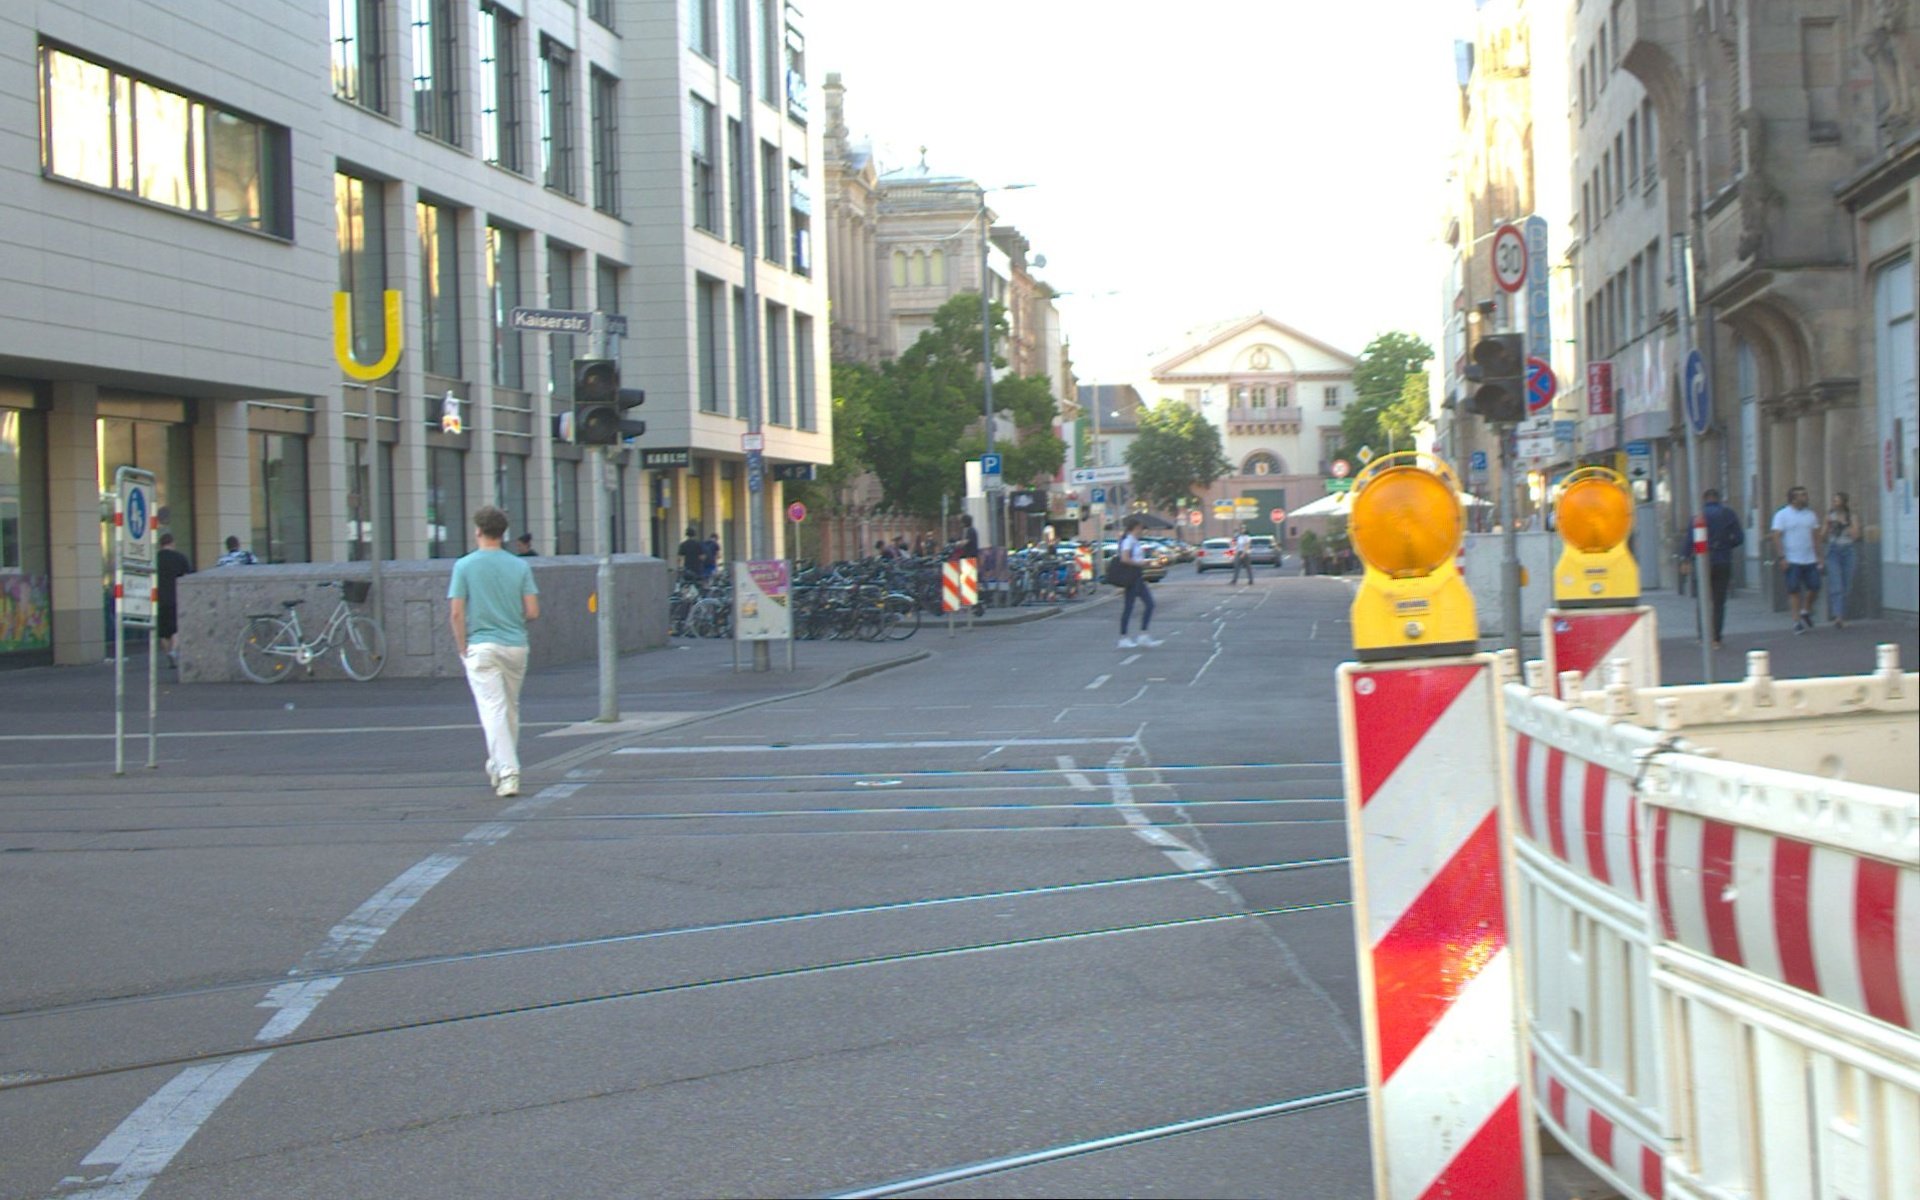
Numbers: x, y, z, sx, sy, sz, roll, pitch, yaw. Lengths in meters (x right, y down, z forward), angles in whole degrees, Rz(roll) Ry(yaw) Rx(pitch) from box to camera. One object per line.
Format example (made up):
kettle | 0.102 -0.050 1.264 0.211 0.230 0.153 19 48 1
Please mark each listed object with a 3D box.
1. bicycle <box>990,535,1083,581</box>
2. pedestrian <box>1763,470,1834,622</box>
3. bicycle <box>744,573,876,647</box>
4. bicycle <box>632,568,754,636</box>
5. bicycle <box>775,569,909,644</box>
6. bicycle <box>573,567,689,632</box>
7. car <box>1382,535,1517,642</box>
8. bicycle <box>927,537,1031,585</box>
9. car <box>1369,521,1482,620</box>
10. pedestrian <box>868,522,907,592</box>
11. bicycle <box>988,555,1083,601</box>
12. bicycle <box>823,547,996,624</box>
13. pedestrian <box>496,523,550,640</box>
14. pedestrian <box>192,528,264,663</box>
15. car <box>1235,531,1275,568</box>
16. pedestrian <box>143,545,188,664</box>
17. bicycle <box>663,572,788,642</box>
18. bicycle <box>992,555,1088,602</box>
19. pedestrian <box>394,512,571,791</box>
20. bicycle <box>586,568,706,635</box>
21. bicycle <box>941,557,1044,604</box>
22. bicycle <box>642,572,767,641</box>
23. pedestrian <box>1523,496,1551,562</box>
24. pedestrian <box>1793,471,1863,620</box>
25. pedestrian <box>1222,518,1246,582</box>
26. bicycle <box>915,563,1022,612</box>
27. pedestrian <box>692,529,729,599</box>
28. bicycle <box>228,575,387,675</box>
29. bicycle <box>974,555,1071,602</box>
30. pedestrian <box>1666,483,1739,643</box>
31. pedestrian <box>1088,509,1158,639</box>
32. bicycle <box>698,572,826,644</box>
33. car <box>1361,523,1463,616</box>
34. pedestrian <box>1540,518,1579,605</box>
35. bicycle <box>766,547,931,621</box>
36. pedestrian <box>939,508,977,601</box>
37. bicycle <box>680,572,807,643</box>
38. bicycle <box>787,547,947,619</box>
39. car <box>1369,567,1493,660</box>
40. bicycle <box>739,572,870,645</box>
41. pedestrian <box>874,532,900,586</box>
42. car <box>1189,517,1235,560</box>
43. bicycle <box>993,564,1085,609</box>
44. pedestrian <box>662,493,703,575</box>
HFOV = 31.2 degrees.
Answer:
bicycle | 1.846 -1.016 82.848 2.149 1.026 0.640 -2 1 8
pedestrian | 9.503 -0.608 38.968 0.625 1.684 0.671 -2 1 4
bicycle | -2.315 0.143 53.222 1.967 1.118 0.558 -1 1 -23
bicycle | -4.491 0.029 57.821 1.967 1.118 0.558 -1 1 -23
bicycle | -1.796 0.091 52.411 1.967 1.118 0.558 -1 1 -23
bicycle | -5.841 -0.012 61.134 1.967 1.118 0.558 -1 1 -23
car | 6.790 -0.187 47.970 1.679 1.419 3.672 0 1 5
bicycle | 0.406 -0.832 73.503 2.149 0.950 0.640 -2 1 8
car | 7.883 -0.513 58.461 1.679 1.542 3.672 -3 1 5
pedestrian | -1.593 -0.946 75.611 0.751 1.524 0.485 -2 1 6
bicycle | 1.782 -0.520 80.764 2.149 1.026 0.640 -2 1 8
bicycle | -0.876 -0.256 60.060 2.886 1.251 0.804 -2 1 -20
pedestrian | -6.337 -0.269 49.886 0.681 1.675 0.600 0 1 3
pedestrian | -9.539 -0.057 44.813 0.782 1.745 0.600 0 1 3
car | 15.193 -2.591 176.761 1.994 1.897 3.999 0 1 5
pedestrian | -10.246 0.054 44.337 0.390 1.510 0.505 -2 1 5
bicycle | -3.832 0.107 56.244 1.967 1.118 0.558 -1 1 -23
bicycle | 1.875 -0.510 80.020 2.149 1.026 0.640 -2 1 8
pedestrian | -3.062 0.318 22.083 0.866 1.755 0.767 0 1 18
bicycle | -5.386 0.017 58.972 1.967 1.118 0.558 -1 1 -23
bicycle | 0.711 -0.428 74.390 2.149 0.950 0.640 -2 1 8
bicycle | -4.226 0.100 56.894 1.967 1.118 0.558 -1 1 -23
pedestrian | 15.551 -1.919 92.636 0.644 1.740 0.671 -2 1 4
pedestrian | 9.992 -0.626 39.587 0.625 1.684 0.626 -2 1 4
pedestrian | 7.853 -1.433 98.400 0.599 1.817 0.452 -2 1 1
bicycle | 0.178 -0.260 71.490 2.149 0.950 0.640 -2 1 8
pedestrian | -5.884 -0.855 81.049 0.731 1.615 0.661 -2 1 6
bicycle | -7.339 0.281 38.699 1.696 1.118 0.451 0 1 9
bicycle | 1.453 -0.497 79.271 2.149 1.026 0.640 -2 1 8
pedestrian | 7.963 -0.397 36.867 0.625 1.684 0.671 -2 1 4
pedestrian | 2.192 -0.351 46.243 0.834 1.715 0.682 -2 1 -2
bicycle | -3.157 0.123 54.894 1.967 1.118 0.558 -1 1 -23
car | 8.454 -0.578 64.510 1.679 1.608 4.027 -3 1 5
pedestrian | 11.788 -0.759 67.575 0.644 1.684 0.671 -2 1 4
bicycle | -2.056 -0.300 63.478 2.886 1.251 0.804 -2 1 -20
pedestrian | -0.045 -0.896 67.721 0.657 1.817 0.528 -2 1 -4
bicycle | -3.496 0.115 55.576 1.967 1.118 0.558 -1 1 -23
bicycle | -1.755 -0.322 64.927 2.886 1.251 0.804 -2 1 -20
car | 7.268 0.181 53.322 1.679 1.286 4.046 -3 1 5
bicycle | -2.440 0.133 53.957 1.967 1.118 0.558 -1 1 -23
pedestrian | -2.227 -1.243 104.906 0.680 1.615 0.573 -2 1 6
car | 11.432 -2.796 155.898 1.994 1.897 3.999 0 1 5
bicycle | 1.932 -0.334 83.622 2.149 1.026 0.640 -2 1 8
pedestrian | -5.519 -1.311 68.336 0.680 1.615 0.573 -2 1 6
